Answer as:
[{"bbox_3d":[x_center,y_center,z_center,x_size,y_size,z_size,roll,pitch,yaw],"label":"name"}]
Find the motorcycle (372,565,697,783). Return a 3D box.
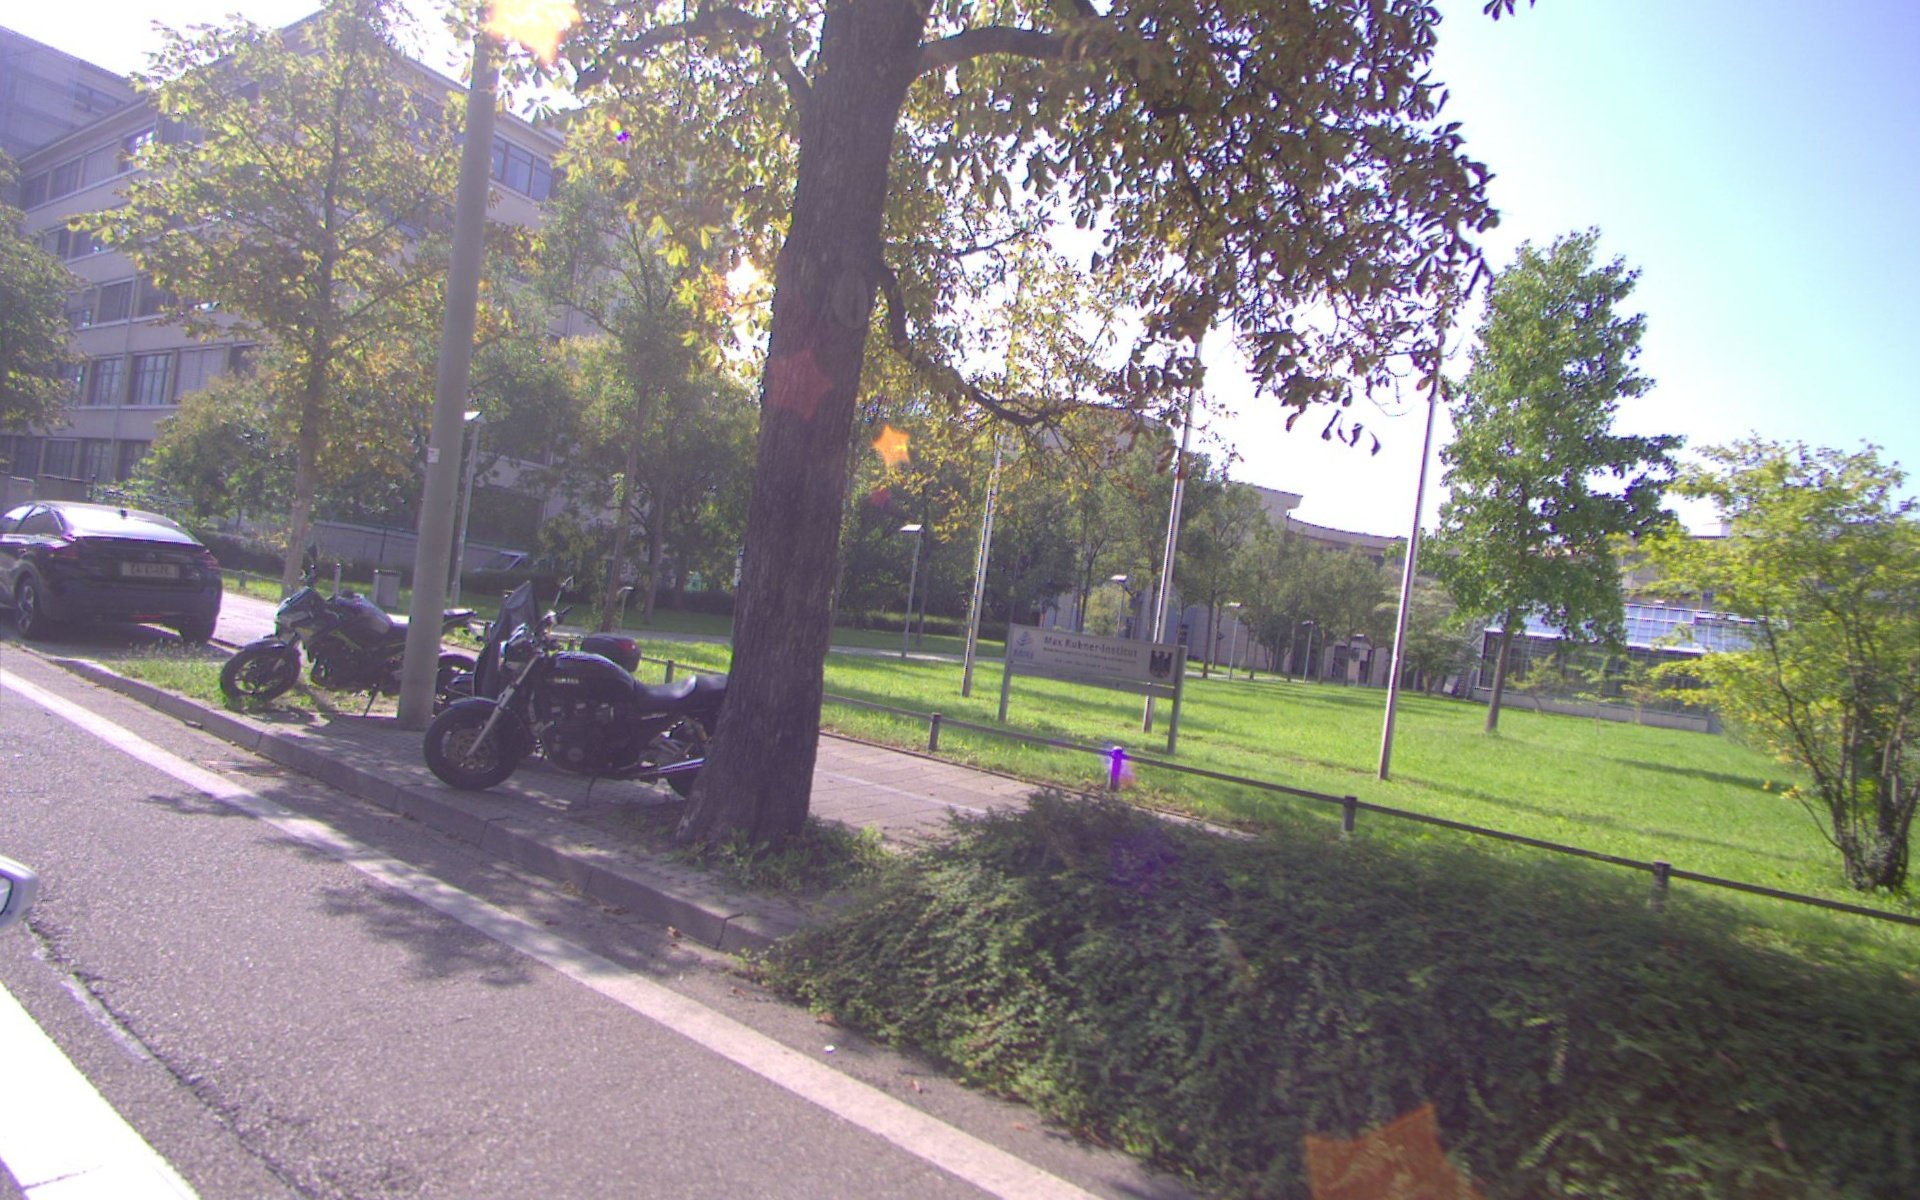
[{"bbox_3d":[-3.222,0.540,7.736,2.028,1.344,0.845,7,1,5],"label":"motorcycle"}]

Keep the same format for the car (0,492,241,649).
[{"bbox_3d":[-11.058,-0.450,12.620,4.364,1.504,1.742,7,1,33],"label":"car"}]

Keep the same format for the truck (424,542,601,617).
[{"bbox_3d":[-18.806,-0.800,42.668,2.087,2.241,6.574,7,-2,34],"label":"truck"}]

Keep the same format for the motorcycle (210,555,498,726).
[{"bbox_3d":[-5.211,0.378,8.782,1.969,1.239,0.640,8,-1,-32],"label":"motorcycle"}]

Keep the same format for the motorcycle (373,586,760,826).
[{"bbox_3d":[-2.402,0.662,6.380,2.036,1.258,0.841,7,0,-18],"label":"motorcycle"}]
